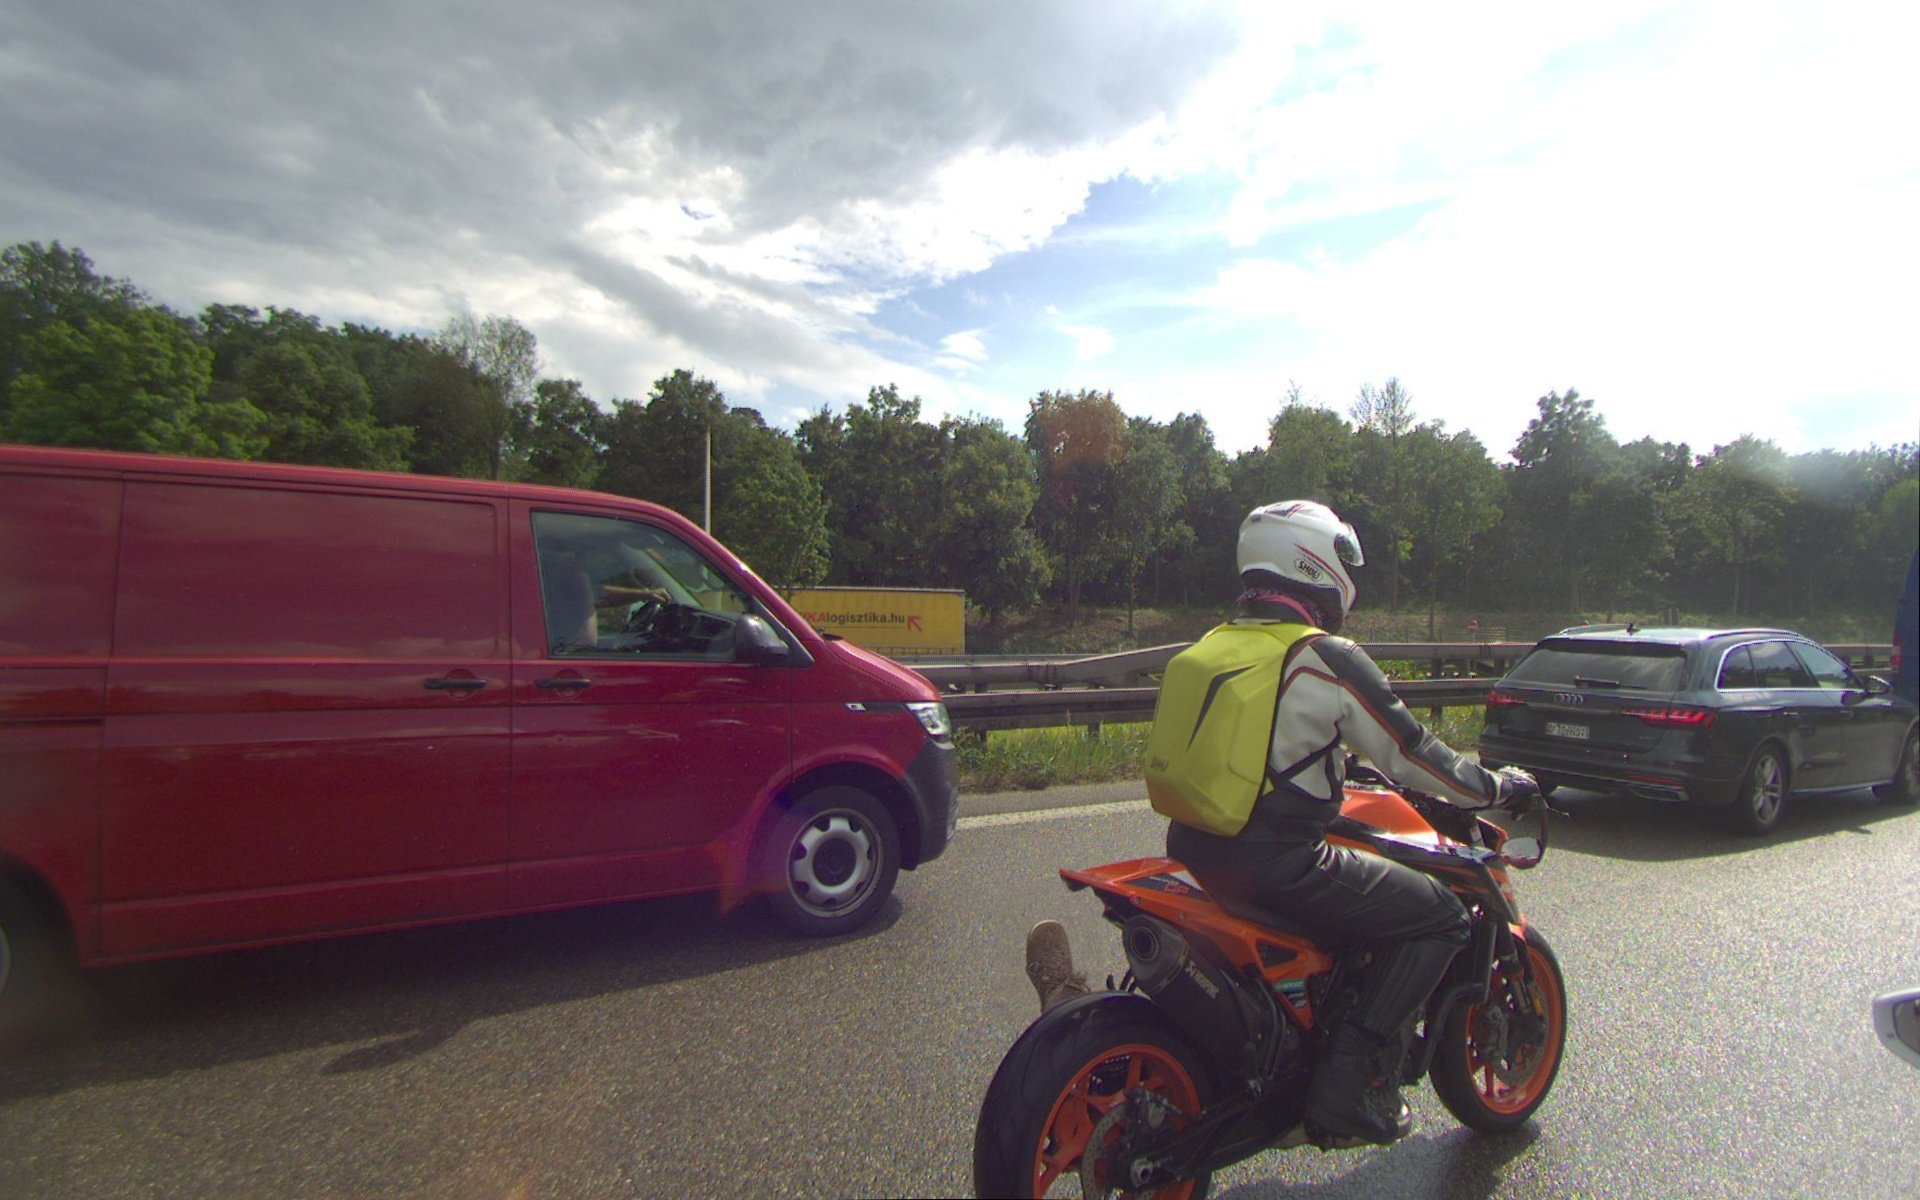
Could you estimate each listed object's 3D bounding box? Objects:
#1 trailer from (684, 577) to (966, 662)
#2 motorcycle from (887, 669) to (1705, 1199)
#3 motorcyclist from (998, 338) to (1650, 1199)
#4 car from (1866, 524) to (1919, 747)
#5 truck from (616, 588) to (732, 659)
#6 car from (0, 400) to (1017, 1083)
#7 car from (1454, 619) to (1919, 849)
[{"bbox_3d":[-6.440,1.002,49.038,13.442,3.744,1.992,2,0,-18],"label":"trailer"},{"bbox_3d":[0.933,0.859,2.472,2.096,1.280,0.814,1,0,-35],"label":"motorcycle"},{"bbox_3d":[0.905,0.460,2.444,1.376,1.784,0.816,2,0,-35],"label":"motorcyclist"},{"bbox_3d":[14.312,0.495,13.142,5.709,2.684,2.006,1,0,-30],"label":"car"},{"bbox_3d":[-13.299,1.085,46.779,4.996,3.139,1.974,2,0,-18],"label":"truck"},{"bbox_3d":[-2.229,0.434,4.394,4.695,2.011,1.881,1,0,-31],"label":"car"},{"bbox_3d":[6.230,0.922,8.294,4.415,1.430,1.711,2,0,-30],"label":"car"}]
